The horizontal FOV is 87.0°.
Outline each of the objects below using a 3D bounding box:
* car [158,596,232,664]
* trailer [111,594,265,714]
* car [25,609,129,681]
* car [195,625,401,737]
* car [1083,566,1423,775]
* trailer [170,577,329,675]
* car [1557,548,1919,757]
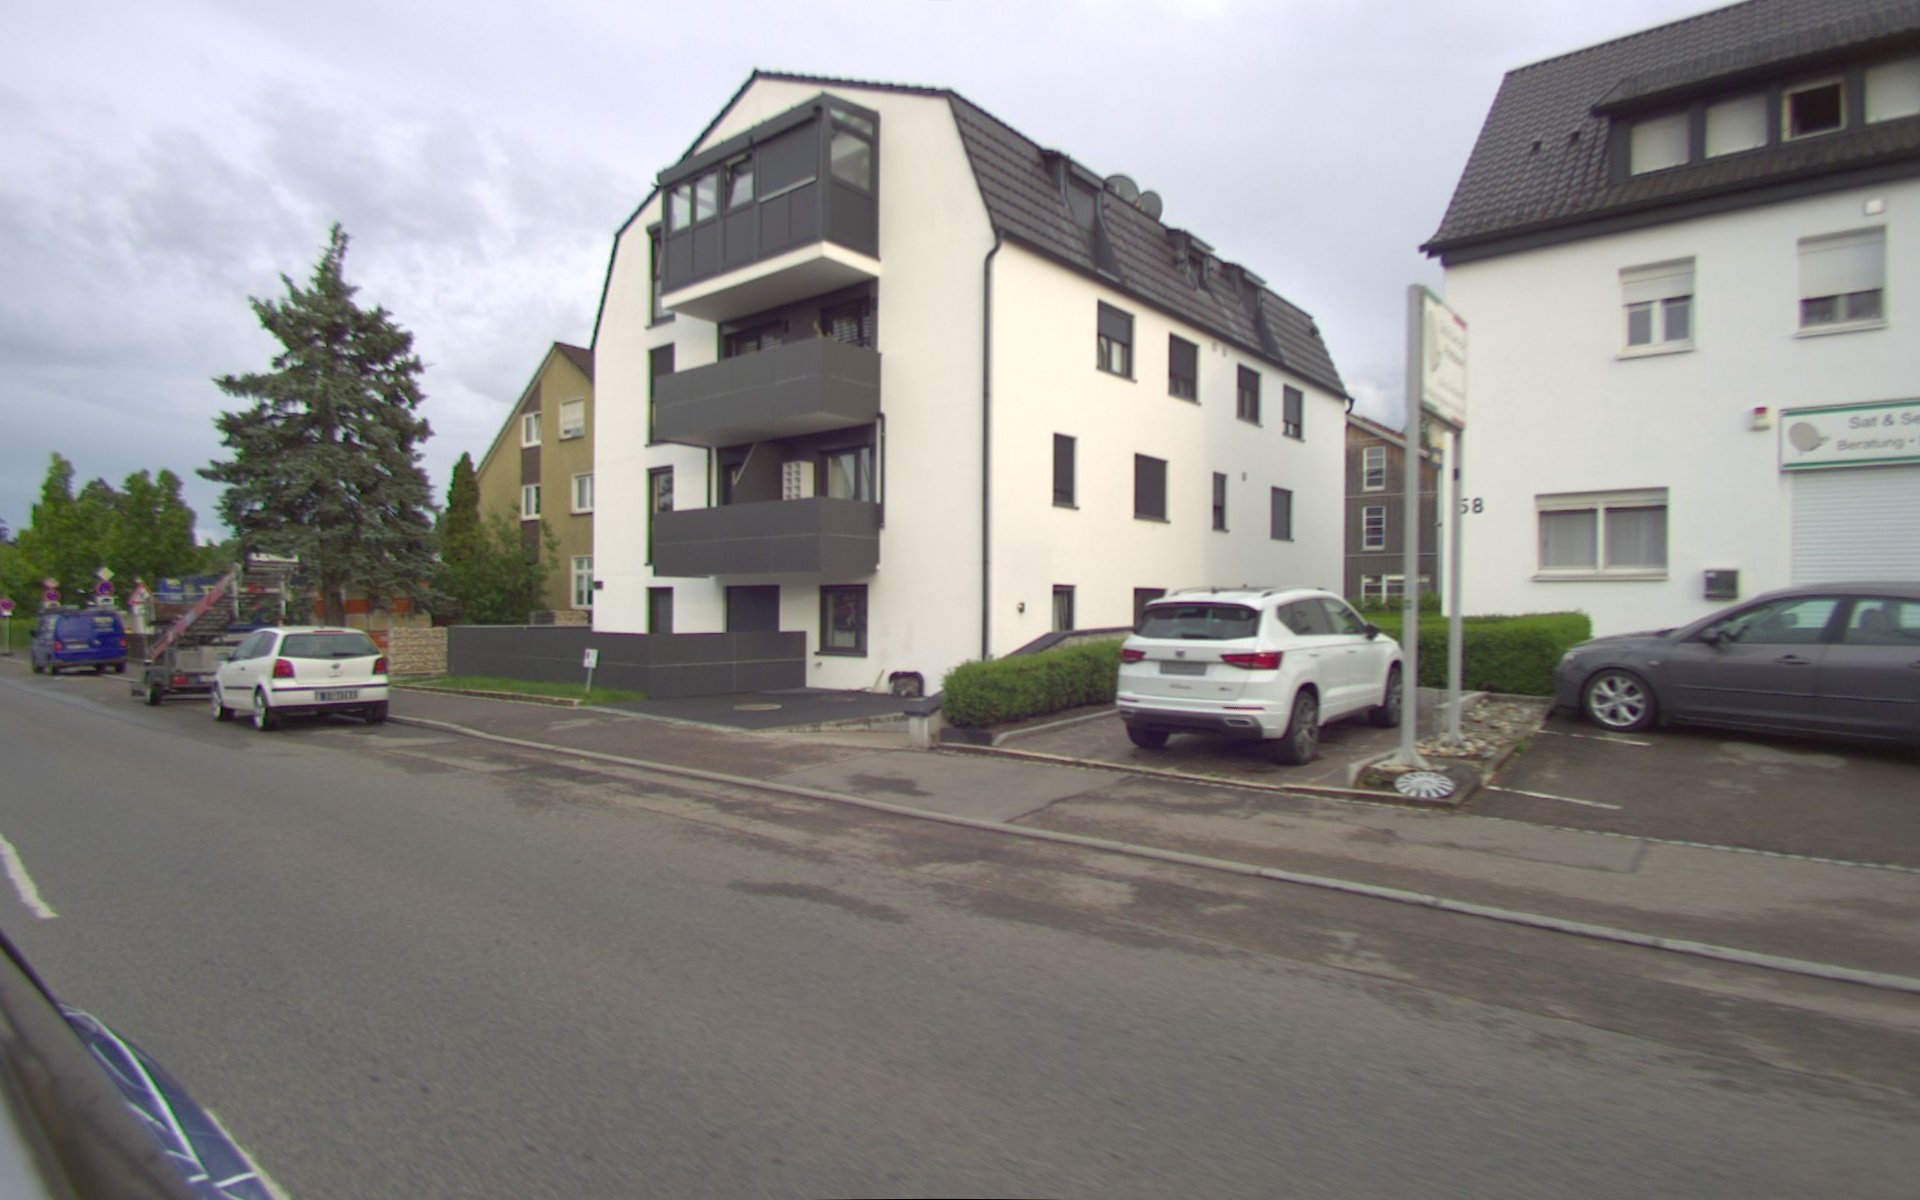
[{"bbox_3d":[-28.735,1.131,37.972,3.594,2.425,1.549,-2,-2,42],"label":"car"},{"bbox_3d":[-15.418,0.985,20.137,4.005,2.143,1.699,-1,0,41],"label":"trailer"},{"bbox_3d":[-28.480,1.401,32.587,4.754,2.140,1.972,-2,-2,42],"label":"car"},{"bbox_3d":[-10.336,1.152,15.707,3.869,1.516,1.717,-2,-2,42],"label":"car"},{"bbox_3d":[3.201,0.551,10.540,1.998,1.659,3.948,-2,1,39],"label":"car"},{"bbox_3d":[-23.789,0.830,33.983,2.167,3.069,4.006,-1,0,42],"label":"trailer"},{"bbox_3d":[7.815,0.375,8.896,1.795,1.541,4.011,-6,4,-34],"label":"car"}]
